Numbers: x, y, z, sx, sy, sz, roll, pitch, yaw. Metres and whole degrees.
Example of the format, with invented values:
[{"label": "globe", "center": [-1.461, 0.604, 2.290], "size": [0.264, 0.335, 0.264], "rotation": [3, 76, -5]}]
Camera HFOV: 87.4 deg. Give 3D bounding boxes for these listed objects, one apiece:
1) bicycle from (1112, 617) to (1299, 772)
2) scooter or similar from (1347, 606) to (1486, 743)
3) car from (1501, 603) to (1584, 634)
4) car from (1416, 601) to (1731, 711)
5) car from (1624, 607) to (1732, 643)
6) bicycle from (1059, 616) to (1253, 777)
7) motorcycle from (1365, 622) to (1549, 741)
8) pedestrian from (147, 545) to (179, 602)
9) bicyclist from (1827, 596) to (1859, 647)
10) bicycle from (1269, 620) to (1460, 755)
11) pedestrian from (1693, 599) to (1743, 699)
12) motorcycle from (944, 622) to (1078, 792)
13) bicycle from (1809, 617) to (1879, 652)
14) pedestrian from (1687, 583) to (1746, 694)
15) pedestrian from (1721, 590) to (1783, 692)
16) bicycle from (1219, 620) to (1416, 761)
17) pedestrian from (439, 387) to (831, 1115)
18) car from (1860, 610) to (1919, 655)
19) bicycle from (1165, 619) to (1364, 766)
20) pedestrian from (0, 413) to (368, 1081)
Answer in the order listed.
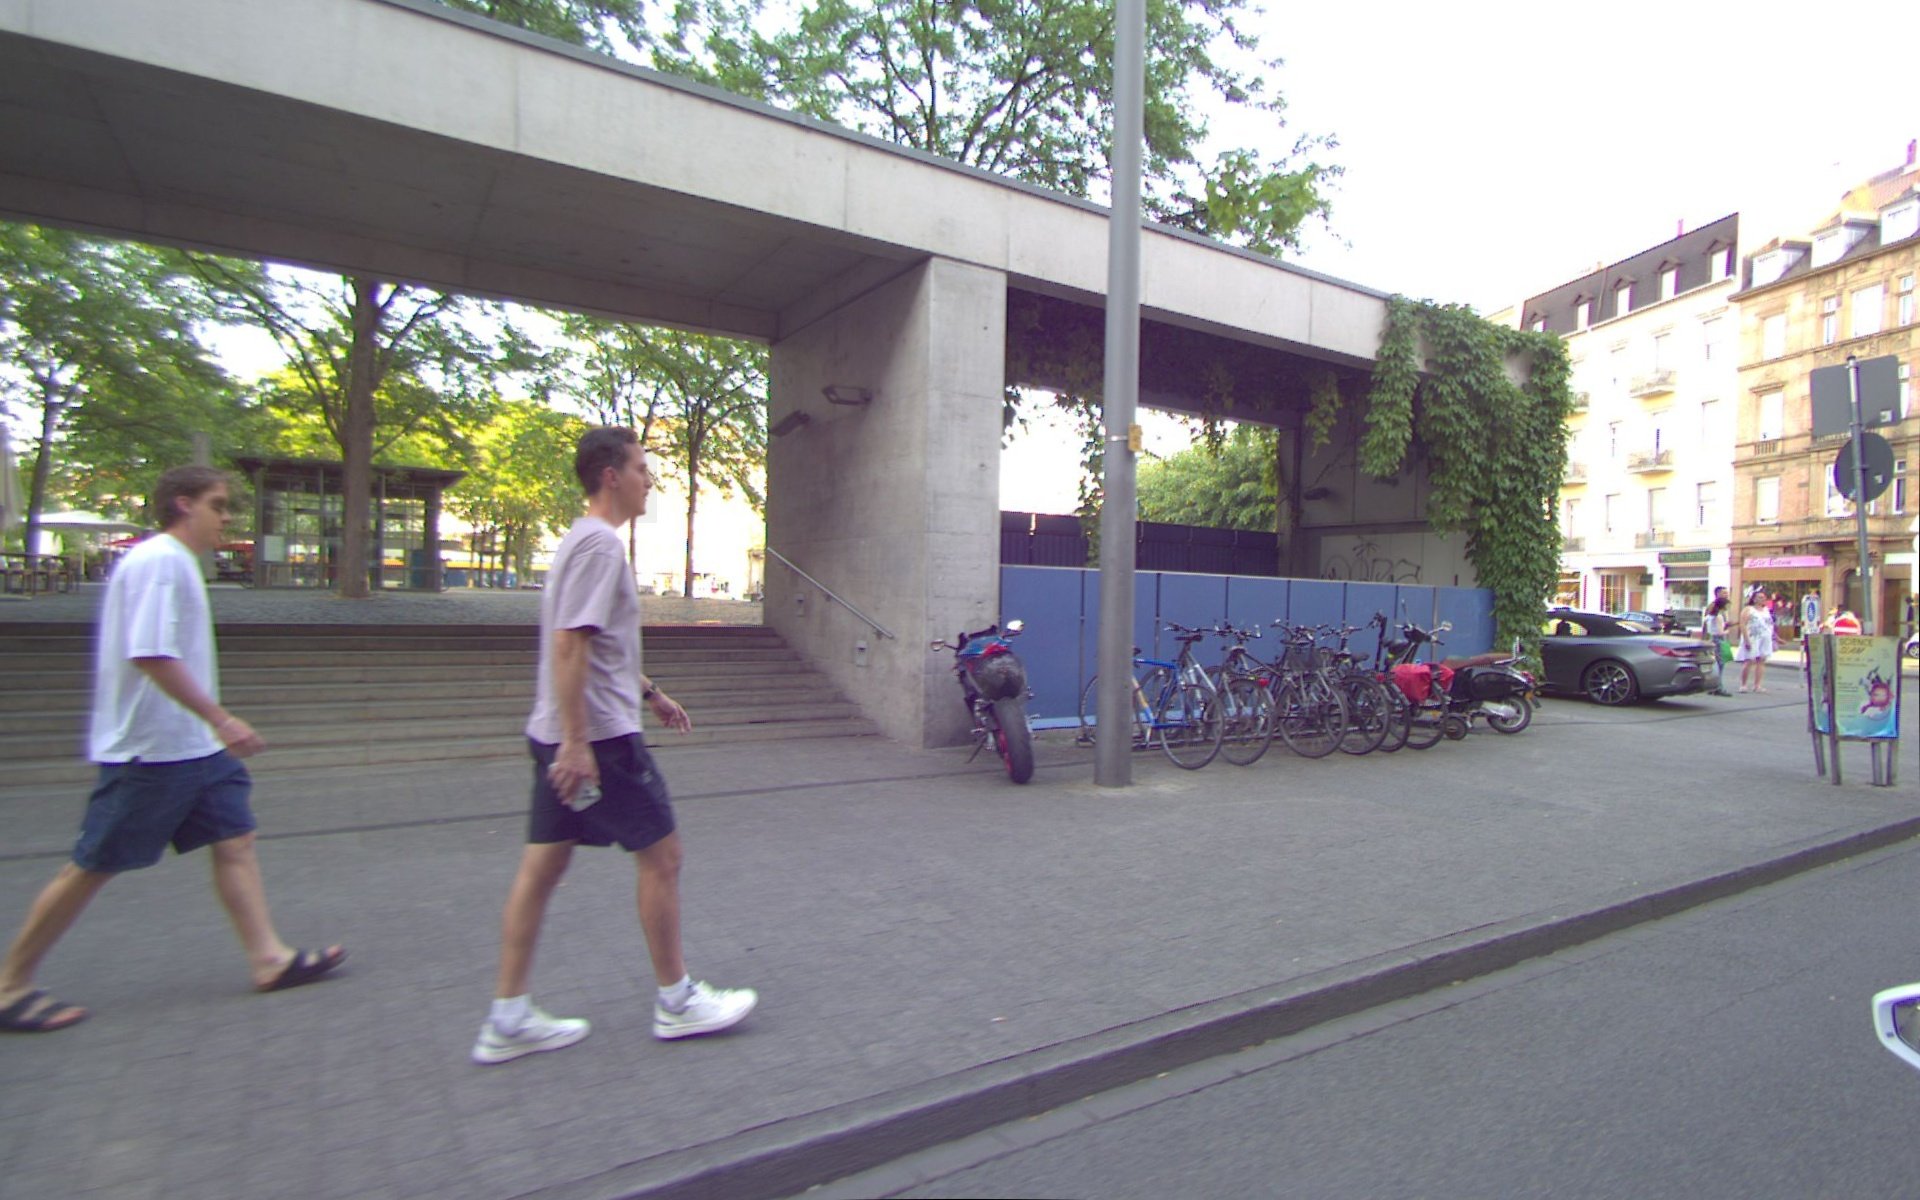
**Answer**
[{"label": "bicycle", "center": [2.095, 0.764, 8.832], "size": [0.494, 1.122, 1.786], "rotation": [1, 2, -29]}, {"label": "scooter or similar", "center": [4.720, 0.740, 10.433], "size": [1.191, 1.291, 0.419], "rotation": [4, 2, 43]}, {"label": "car", "center": [31.546, 0.970, 54.535], "size": [1.767, 1.530, 3.994], "rotation": [2, 0, -9]}, {"label": "car", "center": [9.759, 0.794, 16.226], "size": [1.875, 1.521, 3.955], "rotation": [1, 0, -39]}, {"label": "car", "center": [32.995, 1.123, 46.304], "size": [1.767, 1.530, 3.994], "rotation": [2, 0, -9]}, {"label": "bicycle", "center": [1.601, 0.751, 8.515], "size": [0.494, 1.122, 1.784], "rotation": [1, 2, -32]}, {"label": "motorcycle", "center": [5.404, 0.858, 11.015], "size": [1.718, 1.116, 0.566], "rotation": [3, 2, 25]}, {"label": "pedestrian", "center": [-33.653, -1.108, 42.430], "size": [0.726, 2.362, 0.815], "rotation": [1, 0, -9]}, {"label": "bicyclist", "center": [31.053, 0.753, 35.319], "size": [0.517, 1.780, 0.617], "rotation": [1, 1, -18]}, {"label": "bicycle", "center": [3.965, 0.809, 10.000], "size": [0.494, 1.122, 1.784], "rotation": [1, 2, -31]}, {"label": "pedestrian", "center": [12.829, 0.818, 17.006], "size": [0.514, 1.665, 0.498], "rotation": [0, 0, -30]}, {"label": "motorcycle", "center": [0.342, 0.765, 7.859], "size": [0.750, 1.078, 1.804], "rotation": [2, 1, -6]}, {"label": "bicycle", "center": [31.038, 1.189, 35.305], "size": [0.529, 1.122, 1.793], "rotation": [1, 1, -17]}, {"label": "pedestrian", "center": [13.264, 0.656, 17.619], "size": [0.625, 1.907, 0.581], "rotation": [1, 0, -26]}, {"label": "pedestrian", "center": [14.119, 0.710, 17.916], "size": [0.644, 1.769, 0.674], "rotation": [1, 0, 17]}, {"label": "bicycle", "center": [3.340, 0.800, 9.548], "size": [0.495, 1.122, 1.783], "rotation": [1, 2, -34]}, {"label": "pedestrian", "center": [-1.058, 0.400, 3.225], "size": [1.038, 1.919, 0.740], "rotation": [1, 2, -31]}, {"label": "car", "center": [34.618, 1.177, 35.454], "size": [1.767, 1.530, 3.994], "rotation": [2, 0, -9]}, {"label": "bicycle", "center": [2.732, 0.785, 9.210], "size": [0.495, 1.122, 1.781], "rotation": [1, 2, -36]}, {"label": "pedestrian", "center": [-2.510, 0.397, 3.244], "size": [0.998, 1.837, 0.737], "rotation": [1, 3, -32]}]
